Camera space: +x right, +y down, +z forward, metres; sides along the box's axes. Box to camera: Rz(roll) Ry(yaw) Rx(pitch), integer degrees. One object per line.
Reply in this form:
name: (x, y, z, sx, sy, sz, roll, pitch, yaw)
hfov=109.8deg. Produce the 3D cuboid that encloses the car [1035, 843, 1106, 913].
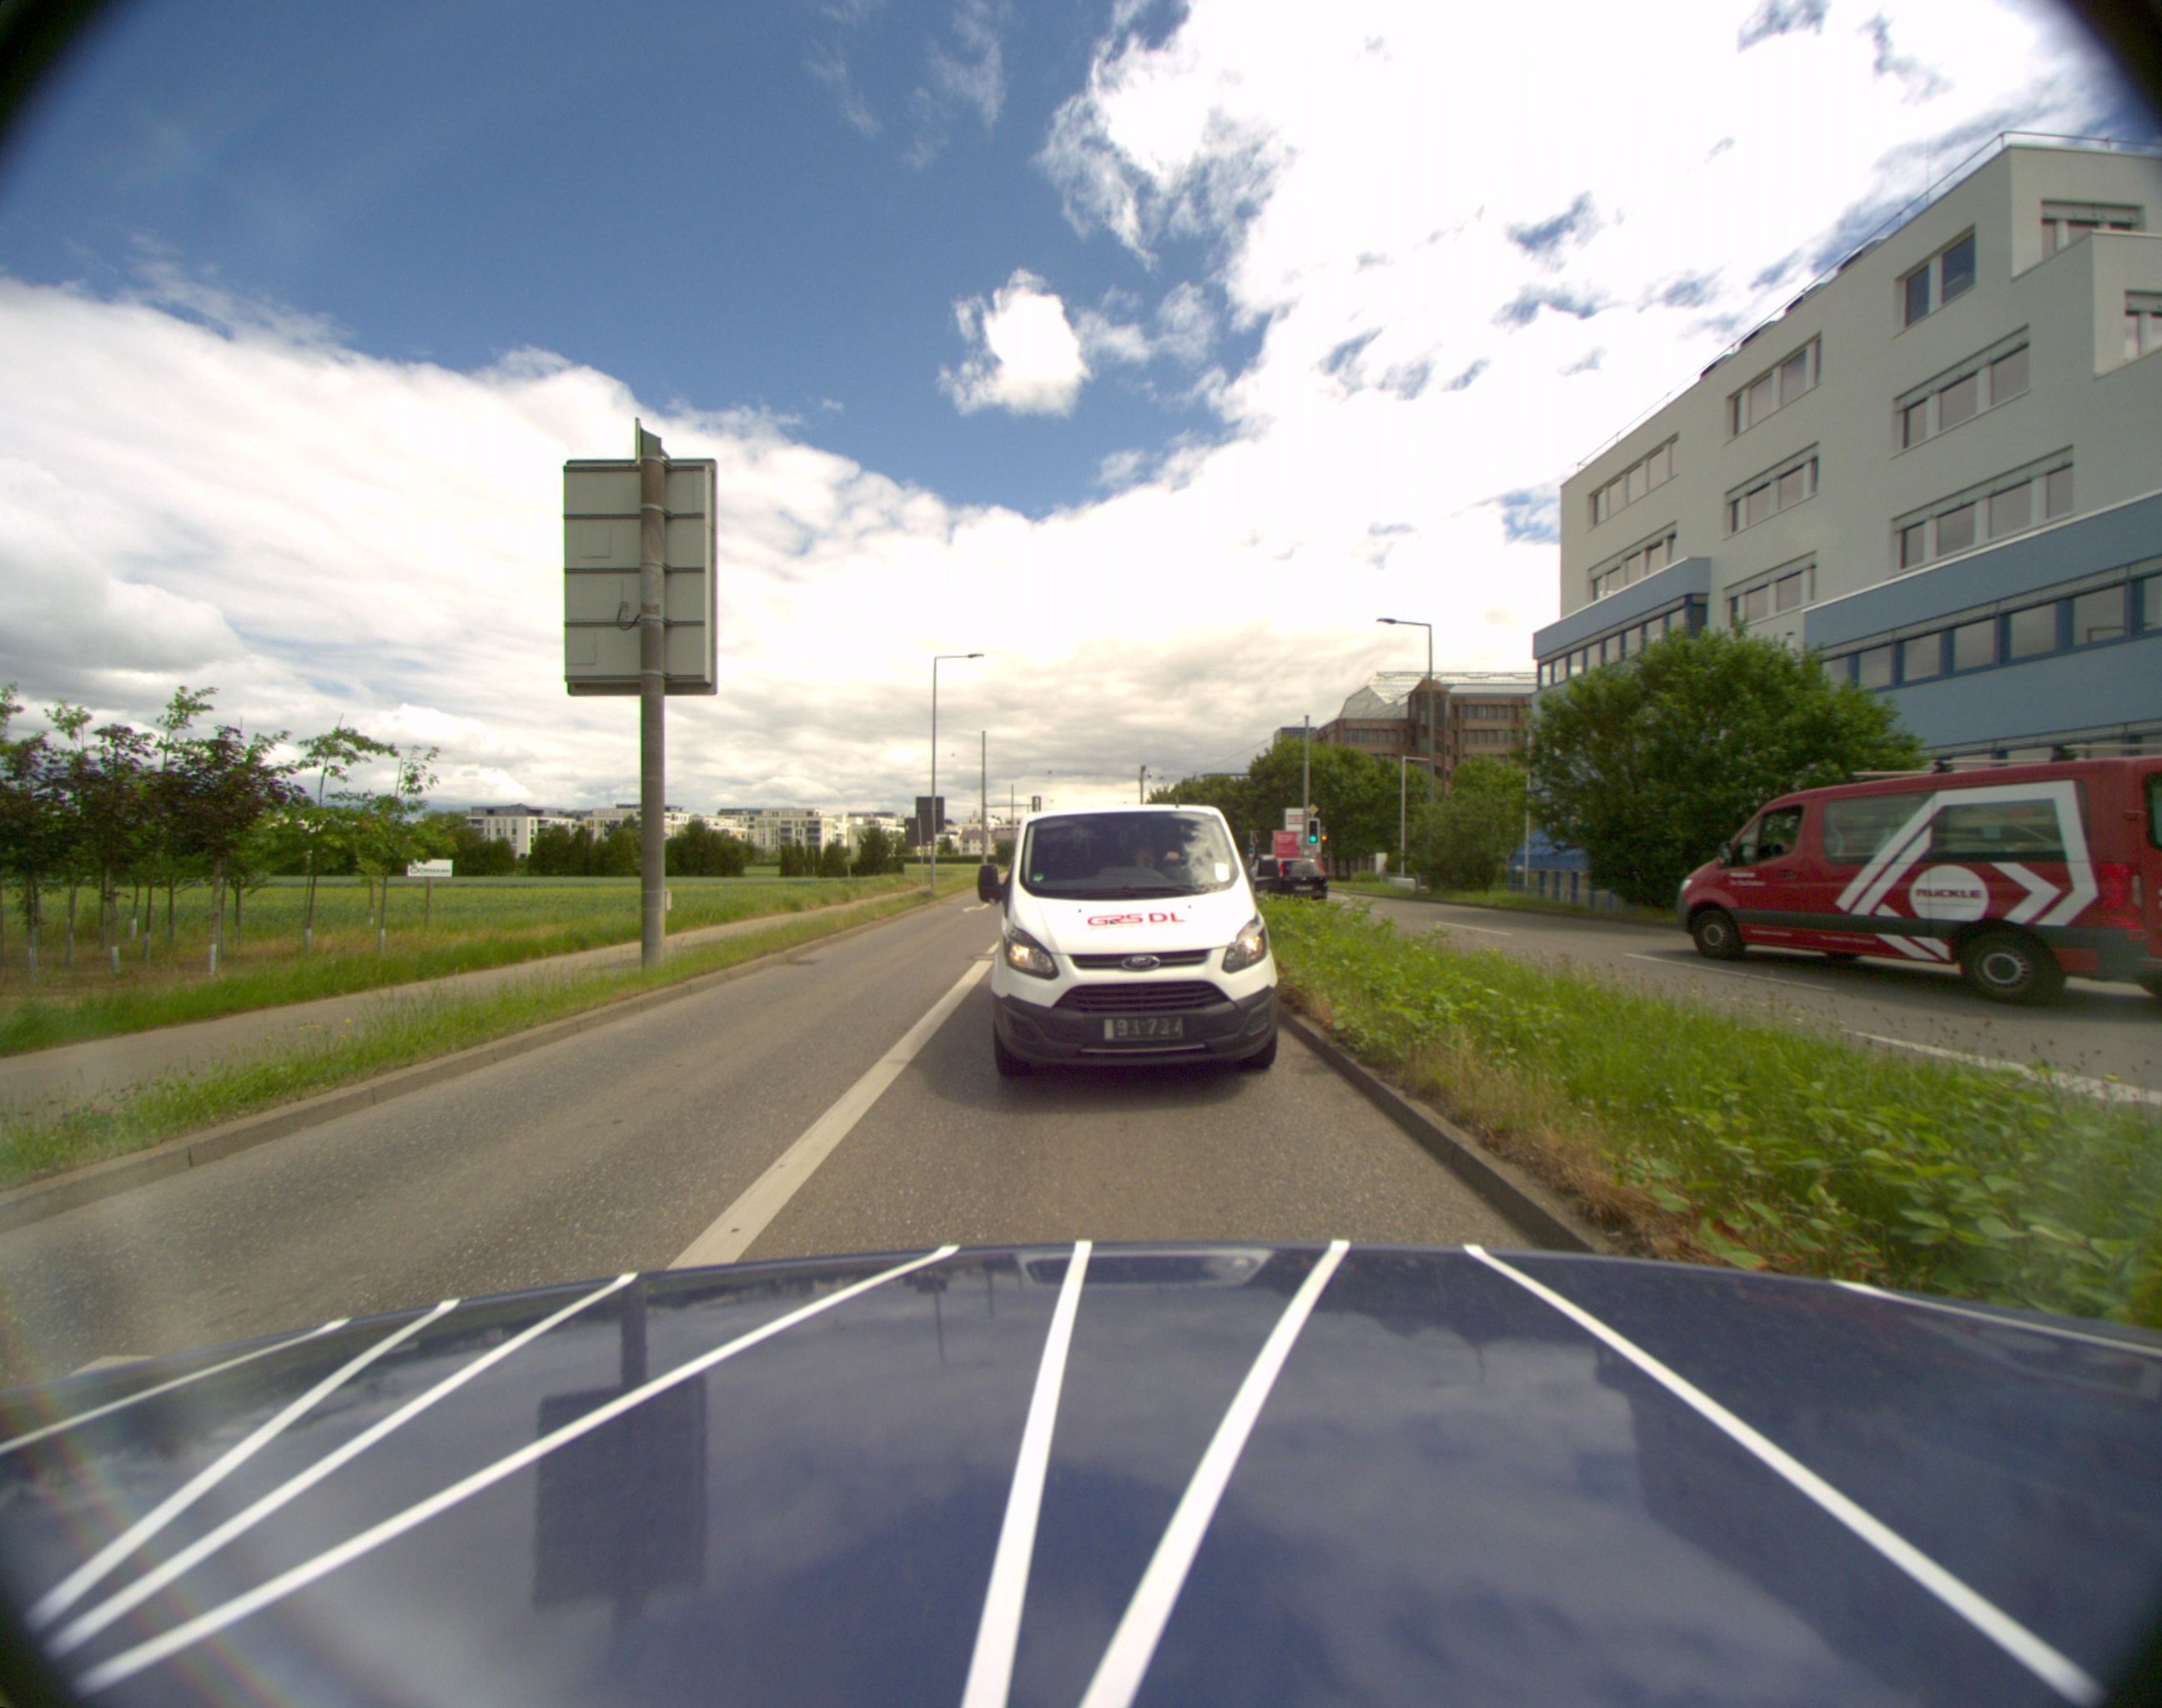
car: (-0.270, 0.682, 23.784, 1.998, 2.002, 4.000, 0, 0, 1)

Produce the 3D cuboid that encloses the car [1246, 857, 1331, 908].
car: (6.570, 0.856, 24.478, 1.683, 1.473, 4.000, -1, 0, 0)

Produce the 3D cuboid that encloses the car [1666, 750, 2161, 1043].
car: (9.813, 0.335, 8.837, 1.998, 2.398, 5.240, 0, 0, 0)

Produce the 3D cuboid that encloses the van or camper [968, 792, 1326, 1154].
van or camper: (0.265, 0.661, 7.133, 1.999, 2.002, 5.798, 0, 0, -2)

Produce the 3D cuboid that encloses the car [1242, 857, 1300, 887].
car: (9.429, 0.856, 38.031, 1.937, 1.390, 4.000, -1, 0, 0)
